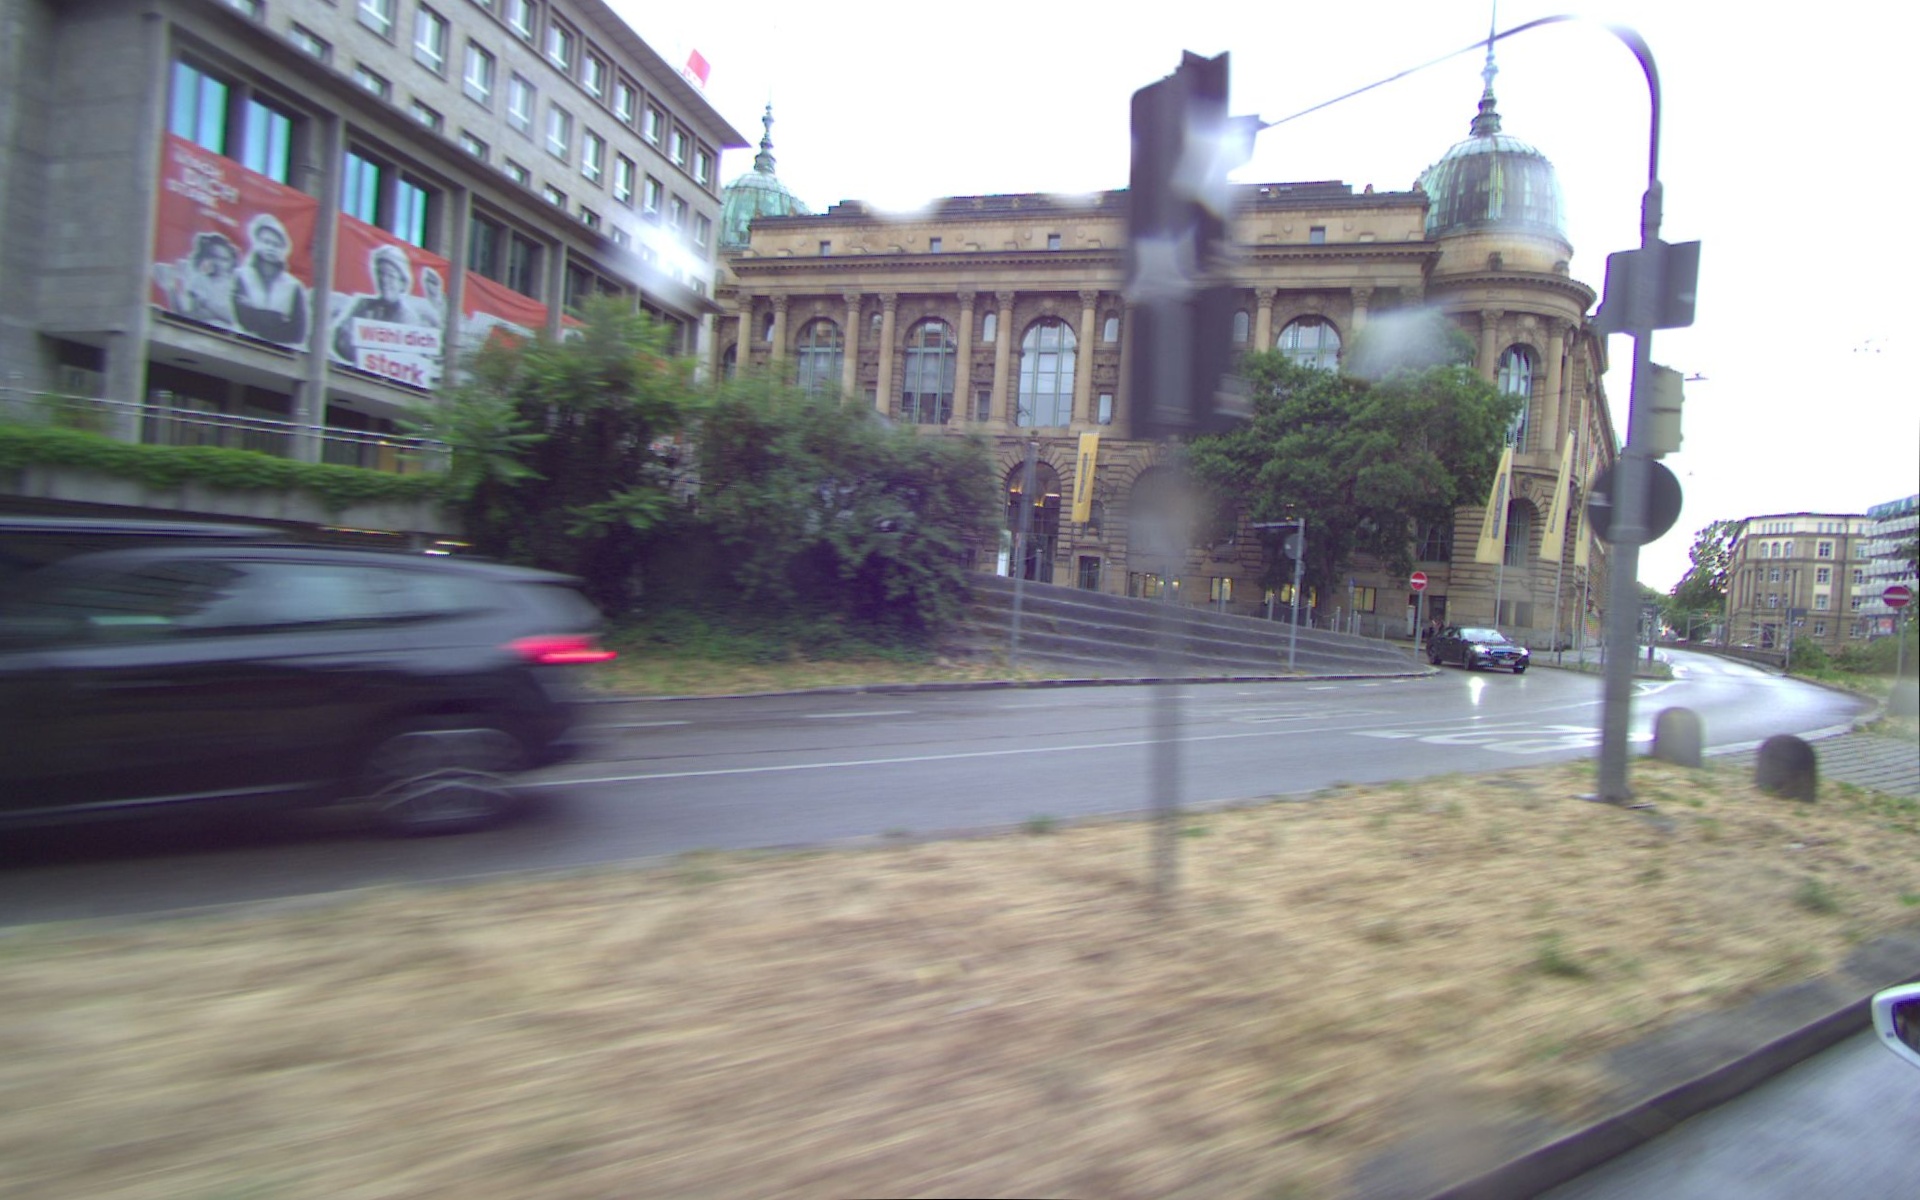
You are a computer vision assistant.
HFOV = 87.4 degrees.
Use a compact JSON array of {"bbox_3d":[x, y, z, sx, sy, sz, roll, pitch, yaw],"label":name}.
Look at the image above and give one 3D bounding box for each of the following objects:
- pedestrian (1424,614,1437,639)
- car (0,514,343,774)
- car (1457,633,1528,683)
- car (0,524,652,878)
[{"bbox_3d":[26.055,1.456,55.625,0.432,1.363,0.644,4,0,17],"label":"pedestrian"},{"bbox_3d":[-7.763,0.329,8.211,4.590,1.947,1.827,1,0,-32],"label":"car"},{"bbox_3d":[18.609,1.987,35.272,1.963,1.513,4.838,3,-1,26],"label":"car"},{"bbox_3d":[-4.173,0.471,5.734,4.337,1.609,1.836,1,0,-30],"label":"car"}]
